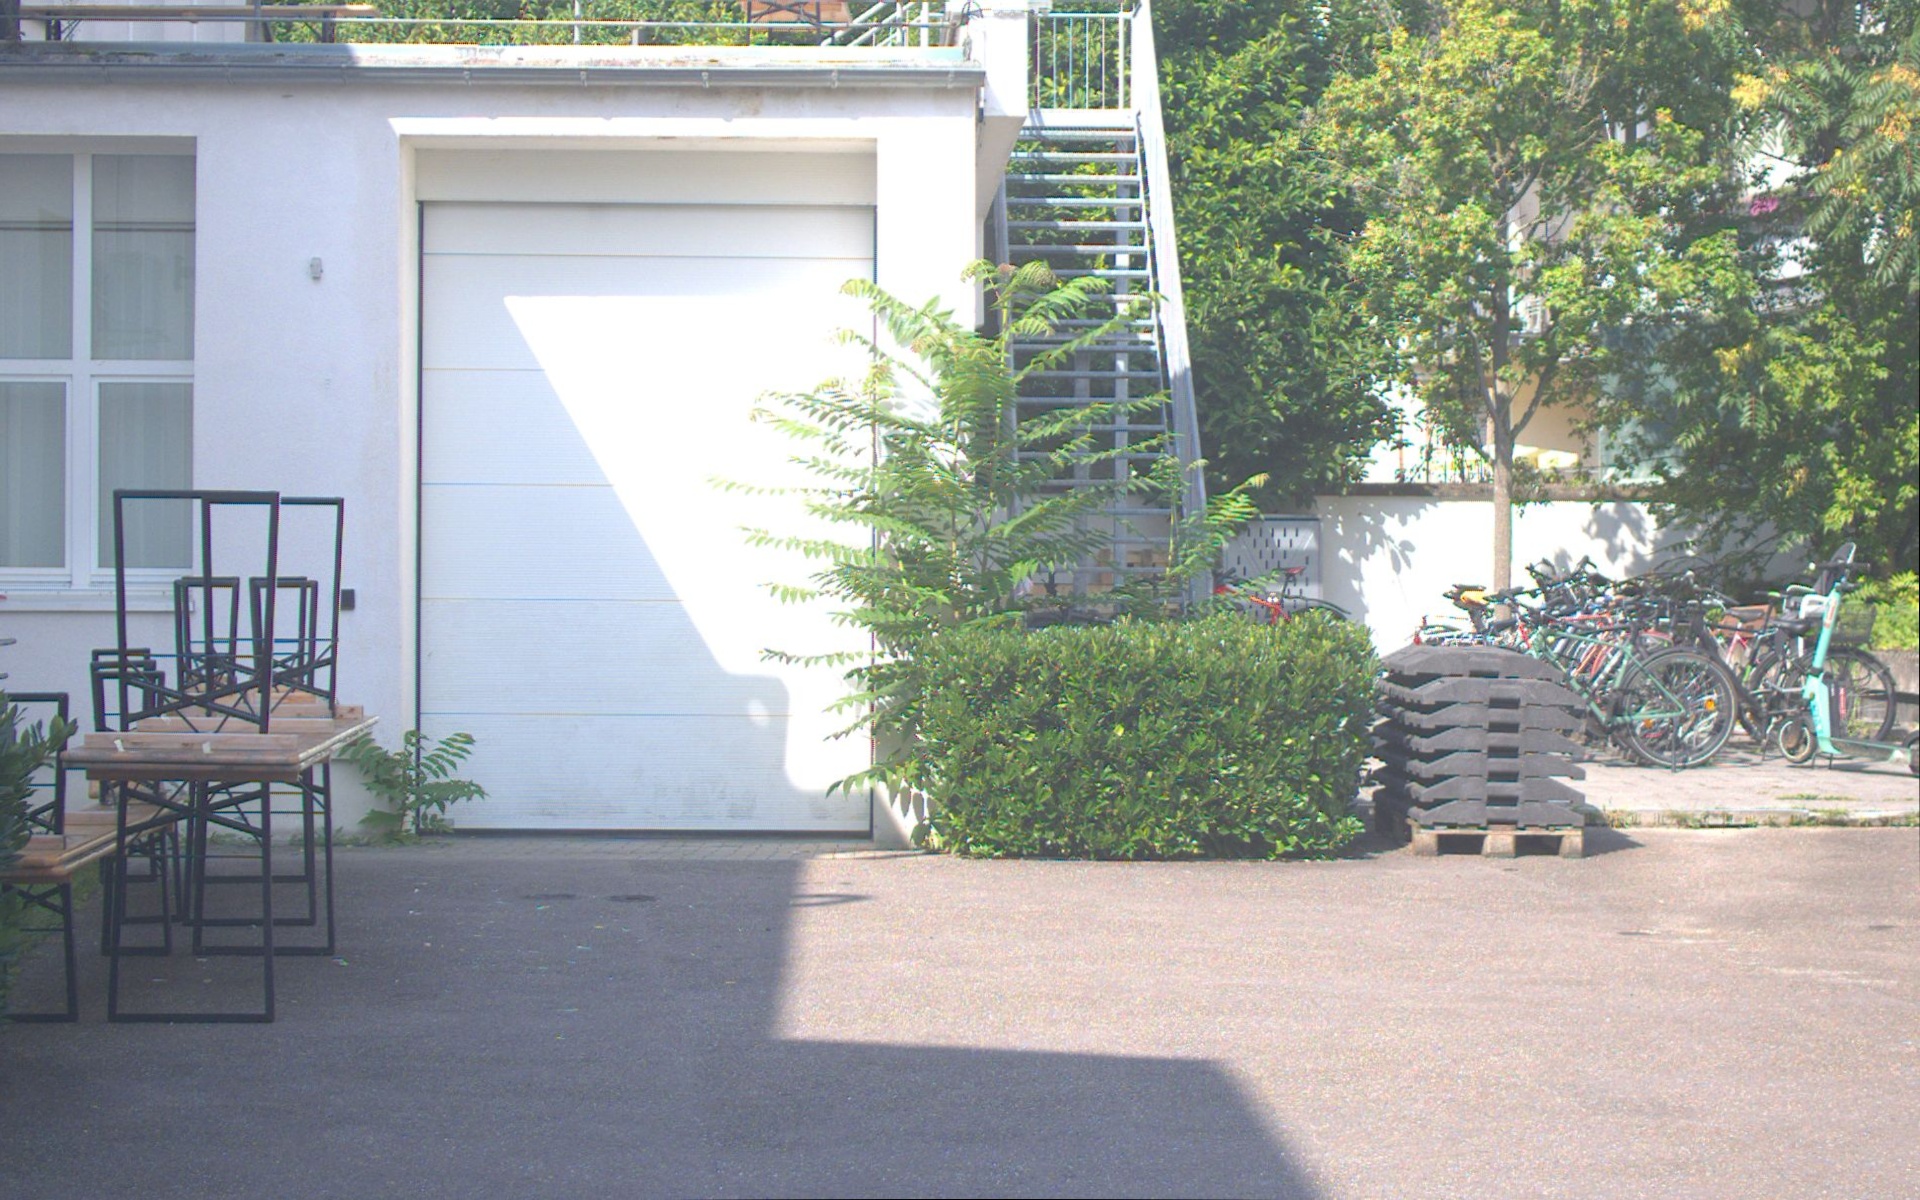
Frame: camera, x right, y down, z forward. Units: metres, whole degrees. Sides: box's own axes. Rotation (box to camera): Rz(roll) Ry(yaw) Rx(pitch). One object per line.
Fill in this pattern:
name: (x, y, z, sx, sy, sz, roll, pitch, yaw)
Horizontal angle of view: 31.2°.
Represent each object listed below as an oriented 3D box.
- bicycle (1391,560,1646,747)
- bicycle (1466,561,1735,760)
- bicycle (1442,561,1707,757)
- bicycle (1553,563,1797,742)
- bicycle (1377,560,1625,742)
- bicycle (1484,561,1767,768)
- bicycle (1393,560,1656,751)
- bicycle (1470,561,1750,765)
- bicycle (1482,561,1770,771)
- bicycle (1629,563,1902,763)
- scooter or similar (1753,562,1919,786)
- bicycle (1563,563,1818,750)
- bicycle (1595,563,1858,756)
bicycle: (3.723, 0.348, 22.941, 1.623, 1.210, 0.424, -1, 1, -7)
bicycle: (3.952, 0.371, 21.270, 1.623, 1.210, 0.327, 0, 1, 9)
bicycle: (3.864, 0.366, 21.632, 1.624, 1.210, 0.327, 0, 1, 12)
bicycle: (4.911, 0.355, 23.653, 1.624, 1.210, 0.424, 0, 1, 11)
bicycle: (3.701, 0.341, 23.543, 1.623, 1.210, 0.424, -1, 1, -6)
bicycle: (3.967, 0.381, 20.525, 1.623, 1.210, 0.327, 0, 1, 0)
bicycle: (3.656, 0.355, 22.305, 1.623, 1.210, 0.424, 0, 1, -2)
bicycle: (3.929, 0.376, 20.818, 1.623, 1.210, 0.327, 0, 1, 0)
bicycle: (3.909, 0.384, 20.202, 1.623, 1.210, 0.327, 0, 1, 0)
bicycle: (4.959, 0.385, 21.190, 1.624, 1.210, 0.327, 0, 1, 14)
scooter or similar: (5.248, 0.410, 19.985, 0.378, 1.256, 1.349, -1, 1, -33)
bicycle: (4.797, 0.366, 22.624, 1.624, 1.210, 0.424, 0, 1, 11)
bicycle: (4.907, 0.375, 22.051, 1.624, 1.210, 0.424, 0, 1, 12)
